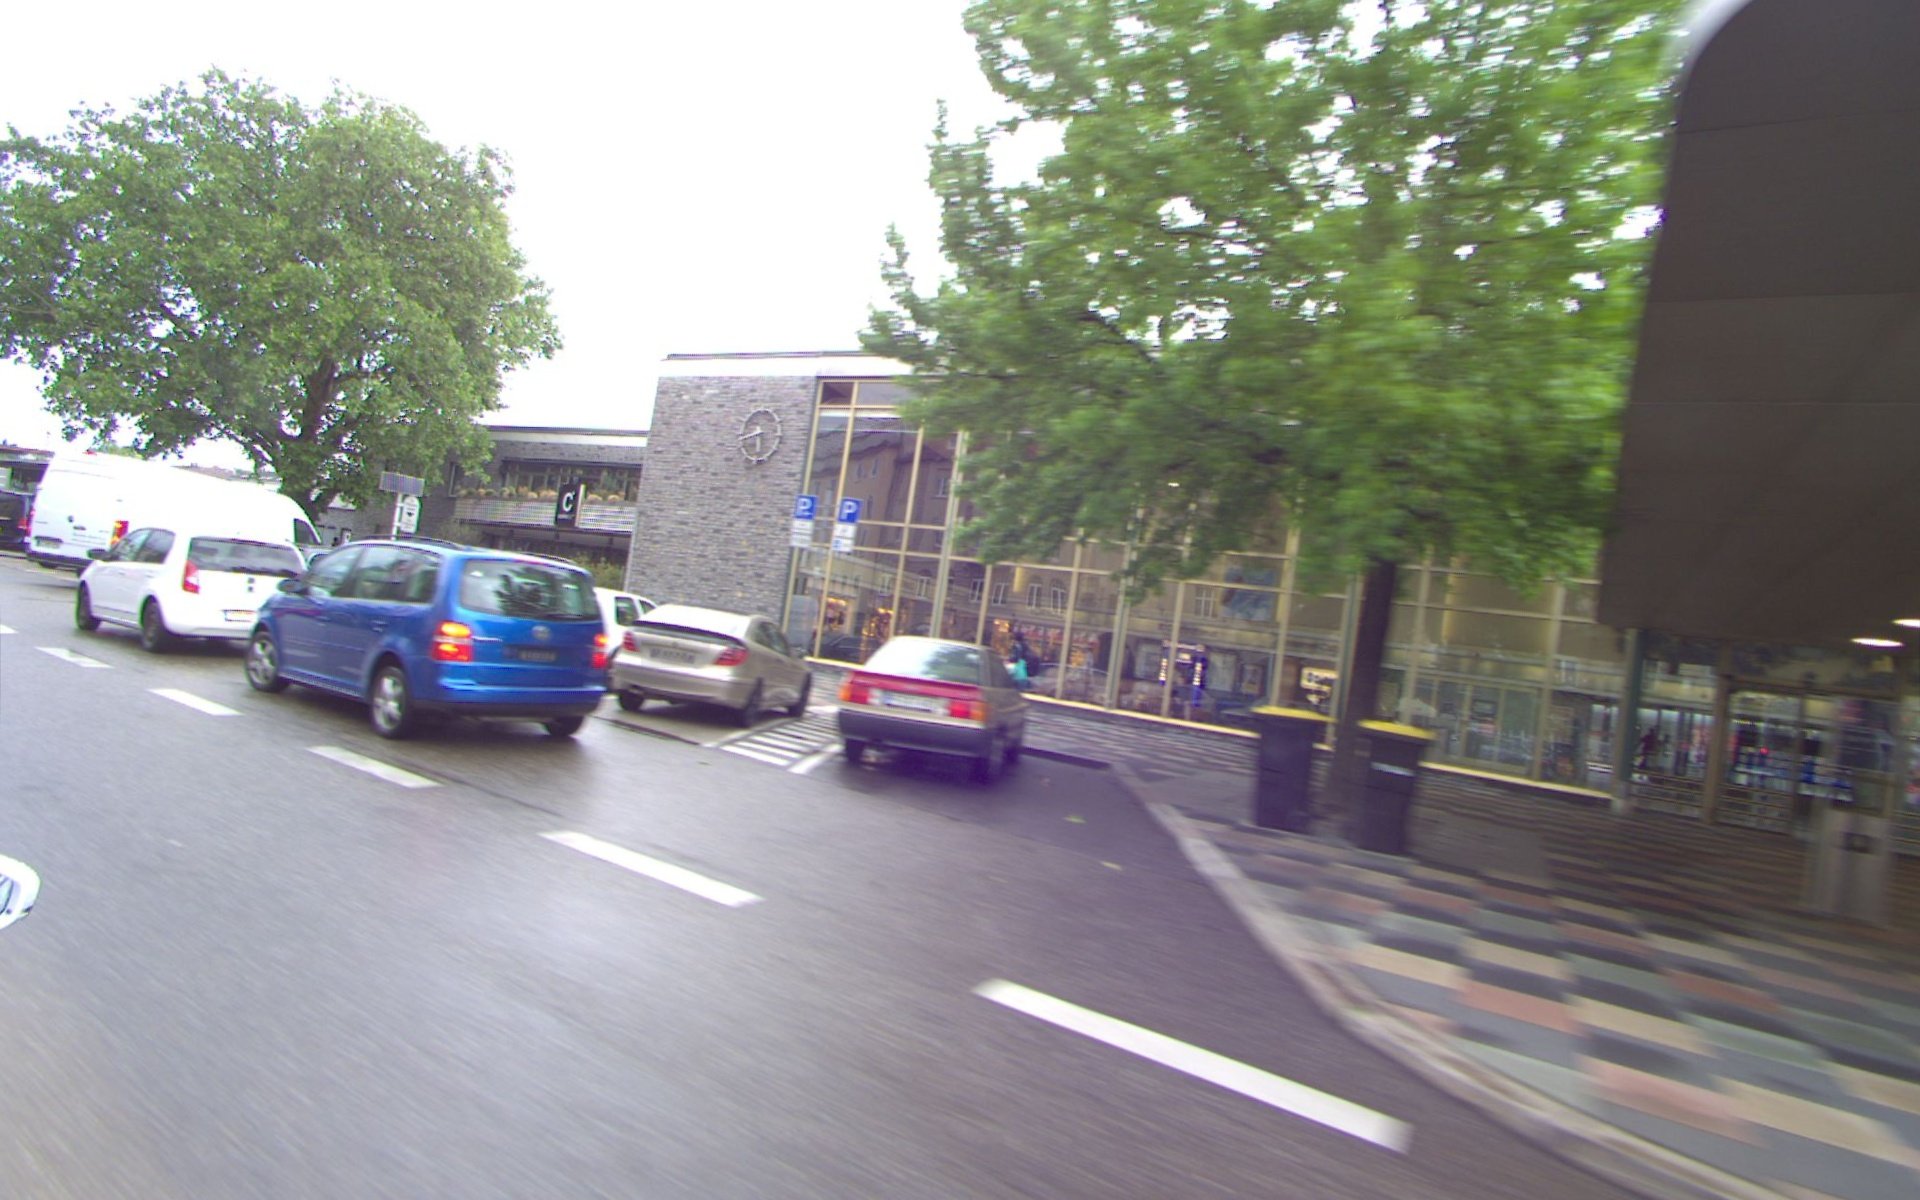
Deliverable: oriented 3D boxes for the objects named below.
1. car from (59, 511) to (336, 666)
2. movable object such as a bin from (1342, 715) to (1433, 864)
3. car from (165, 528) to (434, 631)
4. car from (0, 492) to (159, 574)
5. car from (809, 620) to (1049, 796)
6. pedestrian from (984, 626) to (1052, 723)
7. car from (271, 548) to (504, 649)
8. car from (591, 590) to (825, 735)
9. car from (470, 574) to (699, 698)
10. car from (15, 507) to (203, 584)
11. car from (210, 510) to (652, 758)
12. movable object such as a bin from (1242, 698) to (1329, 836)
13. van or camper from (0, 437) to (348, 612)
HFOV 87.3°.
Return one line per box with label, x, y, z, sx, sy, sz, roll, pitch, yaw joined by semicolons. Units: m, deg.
car;-9.708;-0.173;12.751;3.532;1.492;1.659;7;-1;35
movable object such as a bin;3.651;1.592;8.630;0.538;1.120;0.692;7;-1;18
car;-12.462;-0.279;19.414;1.883;1.488;4.474;7;-2;4
car;-27.049;-2.021;30.070;2.069;1.896;4.704;7;-2;4
car;-0.147;1.116;11.454;1.745;1.415;3.936;7;-2;11
pedestrian;1.084;1.383;18.683;0.819;1.661;0.758;7;-1;31
car;-10.070;0.050;18.058;1.746;1.415;3.693;7;-2;4
car;-3.130;0.785;13.382;1.746;1.415;3.934;7;-2;4
car;-5.456;0.547;15.150;1.746;1.415;3.623;7;-2;4
car;-22.903;-1.402;27.265;1.729;1.542;3.594;7;-2;4
car;-5.149;0.238;9.585;4.347;1.702;1.821;7;-1;35
movable object such as a bin;2.981;1.490;9.176;0.591;1.120;0.725;7;-1;22
van or camper;-17.079;-1.413;22.469;2.237;2.903;6.536;7;-2;3
